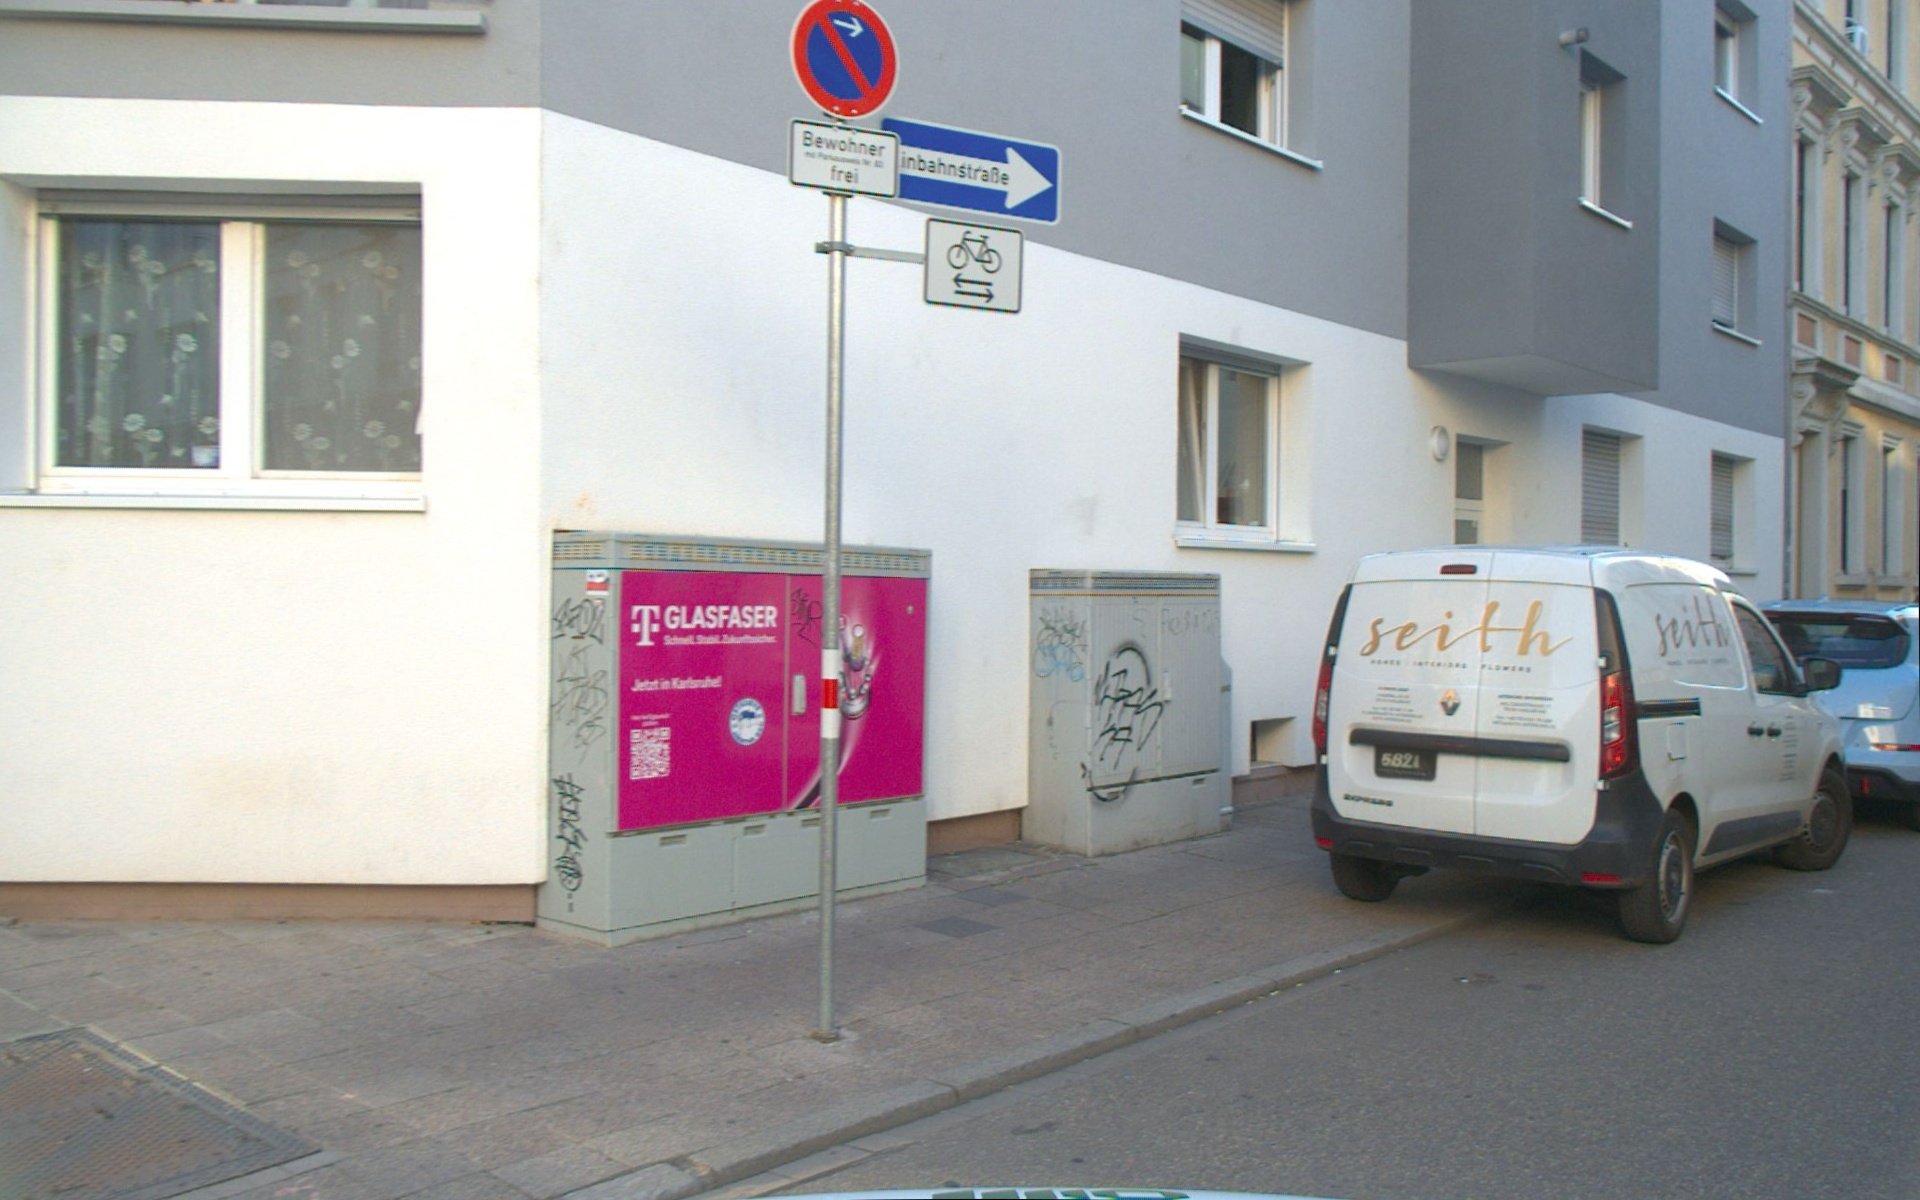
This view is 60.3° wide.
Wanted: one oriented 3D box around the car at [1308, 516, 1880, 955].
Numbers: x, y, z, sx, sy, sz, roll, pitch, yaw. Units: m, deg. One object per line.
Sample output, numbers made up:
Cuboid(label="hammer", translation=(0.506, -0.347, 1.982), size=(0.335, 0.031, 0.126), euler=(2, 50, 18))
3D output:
Cuboid(label="car", translation=(3.651, 0.533, 9.051), size=(1.607, 1.845, 4.161), euler=(0, 1, 41))

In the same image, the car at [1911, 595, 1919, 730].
Cuboid(label="car", translation=(11.548, 0.642, 17.631), size=(1.659, 1.355, 4.107), euler=(0, 0, 42))

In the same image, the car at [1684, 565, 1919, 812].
Cuboid(label="car", translation=(7.163, 0.541, 12.976), size=(1.735, 1.591, 4.347), euler=(0, 1, 38))
